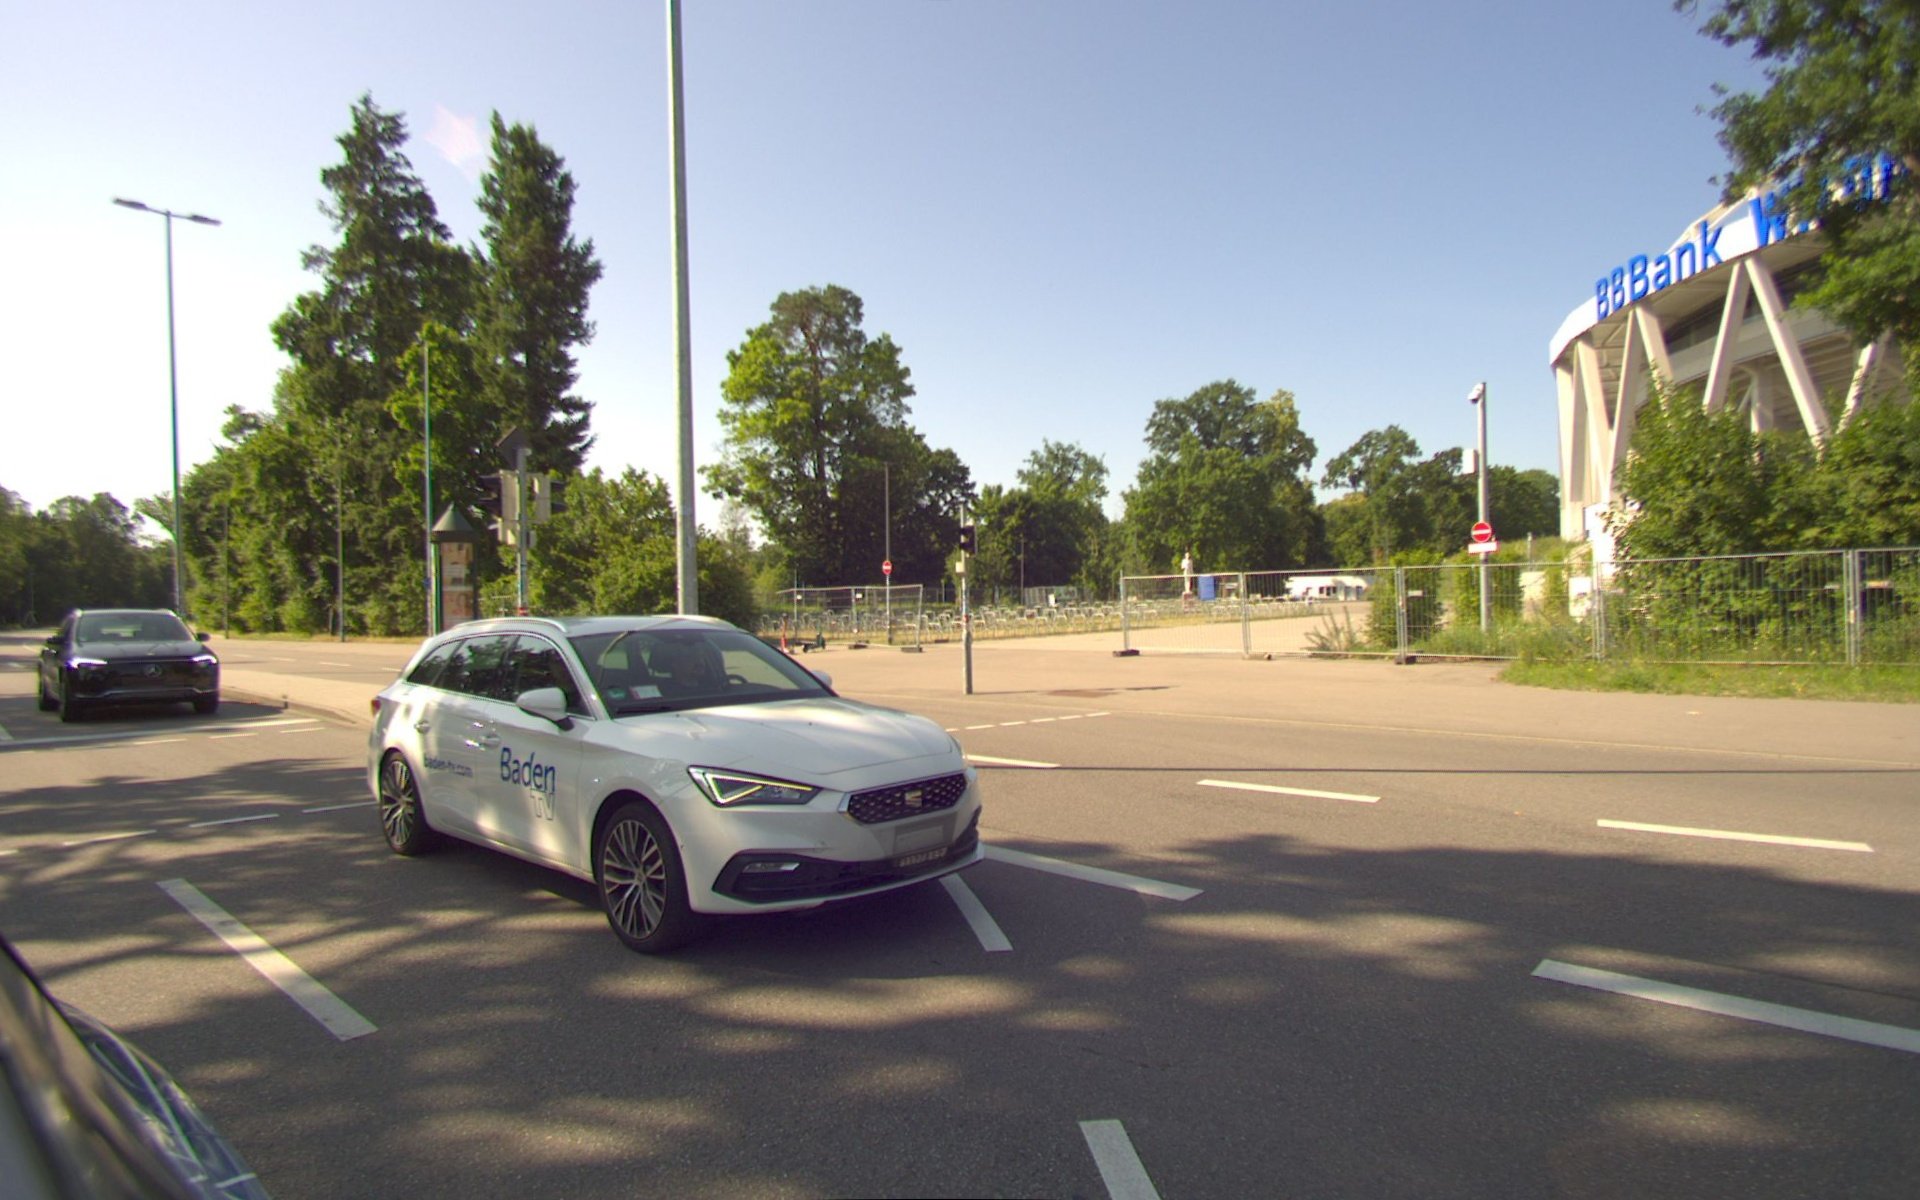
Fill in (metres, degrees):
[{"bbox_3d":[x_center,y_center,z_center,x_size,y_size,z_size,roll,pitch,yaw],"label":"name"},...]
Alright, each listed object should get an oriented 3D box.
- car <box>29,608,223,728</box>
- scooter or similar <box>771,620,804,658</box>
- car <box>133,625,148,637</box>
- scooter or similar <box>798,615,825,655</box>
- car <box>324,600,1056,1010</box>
[{"bbox_3d":[-13.041,0.930,15.728,4.273,1.608,1.785,-1,-1,43],"label":"car"},{"bbox_3d":[-5.331,1.187,31.272,0.390,1.154,1.198,-1,-1,-42],"label":"scooter or similar"},{"bbox_3d":[-132.398,4.978,163.574,1.848,1.874,4.008,-1,0,-39],"label":"car"},{"bbox_3d":[-4.653,1.095,31.832,0.393,1.231,1.075,-1,0,18],"label":"scooter or similar"},{"bbox_3d":[-1.870,0.768,5.770,4.718,1.437,1.707,-1,-2,41],"label":"car"}]
